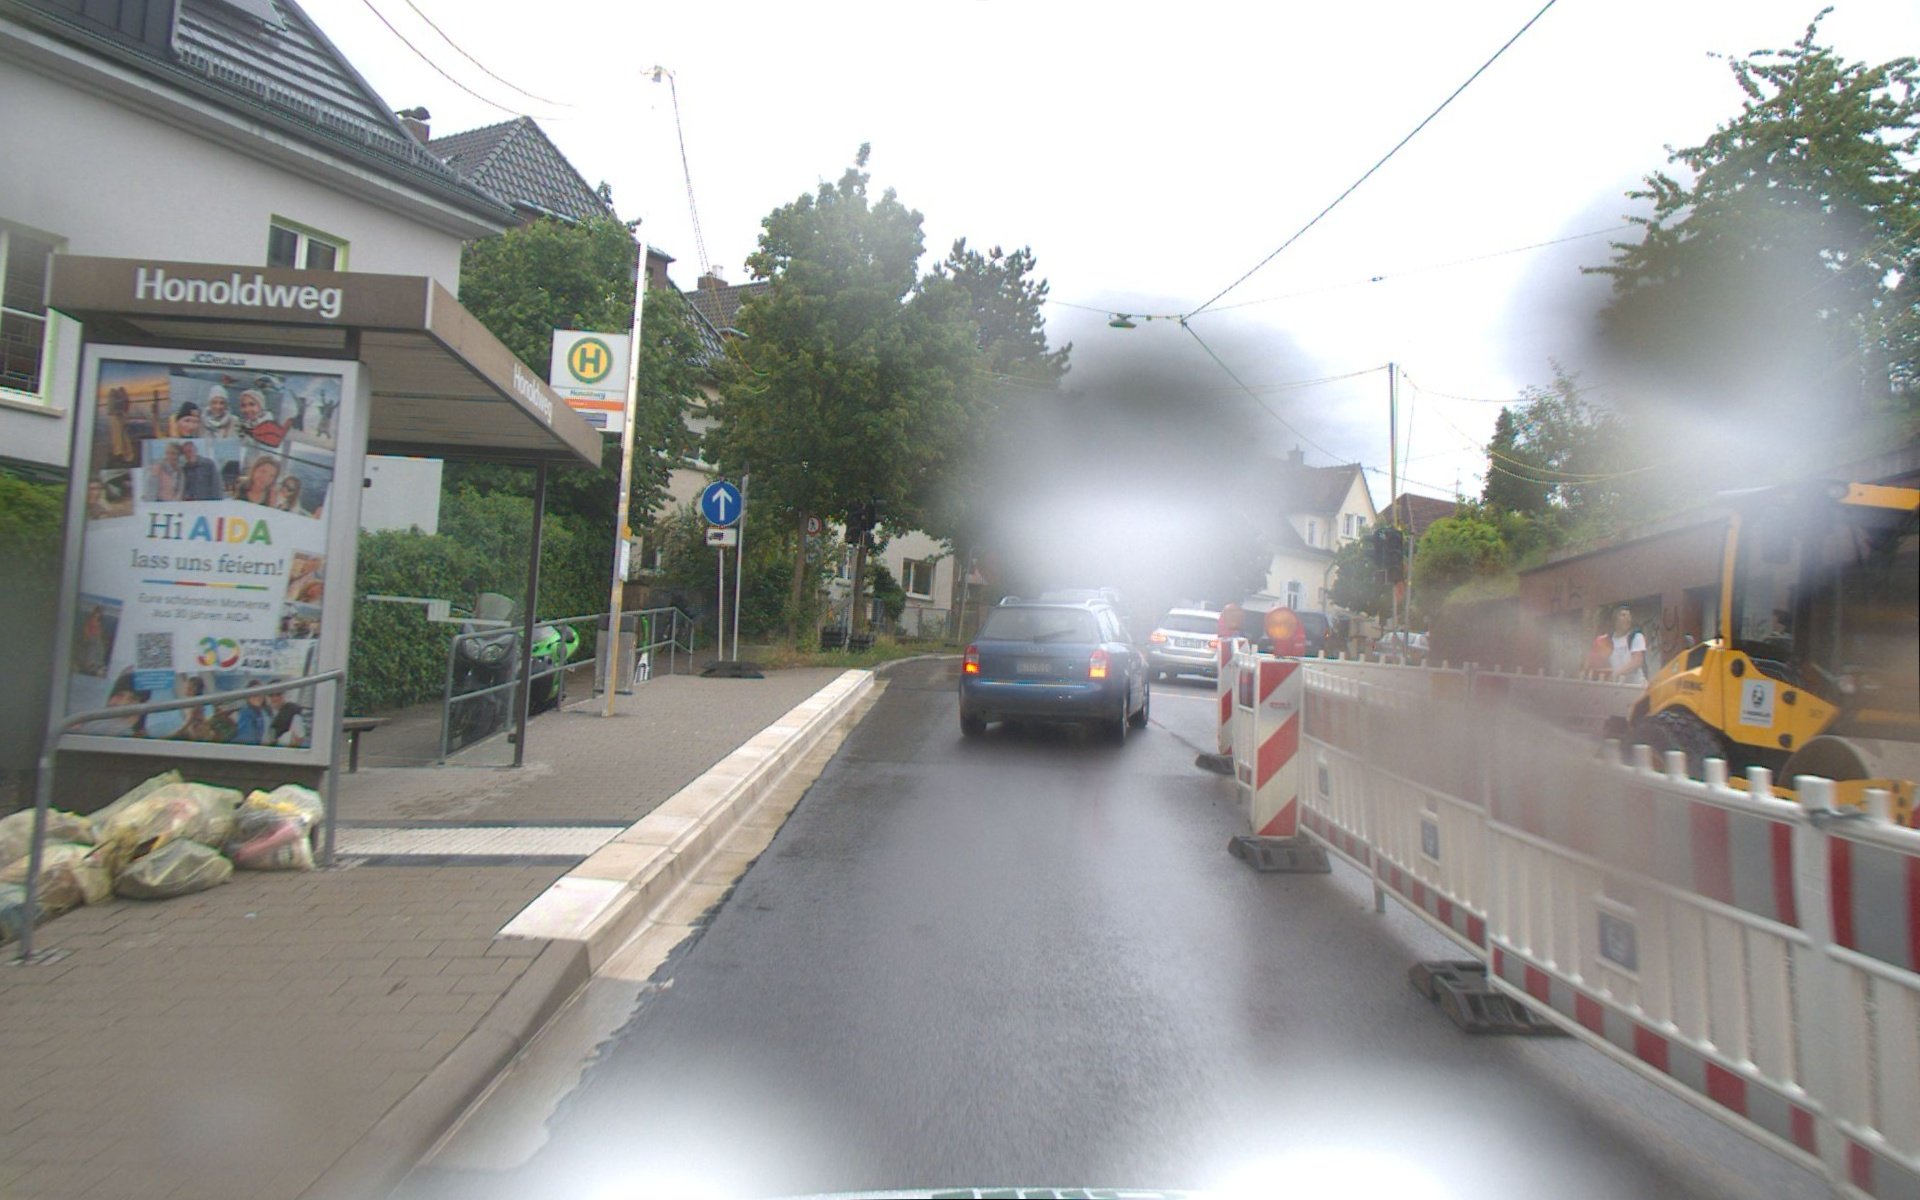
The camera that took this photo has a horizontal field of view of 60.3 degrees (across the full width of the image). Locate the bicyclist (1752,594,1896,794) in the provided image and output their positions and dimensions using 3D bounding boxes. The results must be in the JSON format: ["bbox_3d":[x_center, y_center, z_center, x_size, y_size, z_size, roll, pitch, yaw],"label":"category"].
[{"bbox_3d":[8.156,0.865,15.600,1.055,1.759,0.930,2,-1,34],"label":"bicyclist"}]

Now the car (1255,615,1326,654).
[{"bbox_3d":[13.481,1.433,67.302,1.639,1.492,3.886,1,-1,31],"label":"car"}]

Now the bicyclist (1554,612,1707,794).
[{"bbox_3d":[6.839,1.030,16.914,1.054,1.759,0.931,3,-1,-9],"label":"bicyclist"}]

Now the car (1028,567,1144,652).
[{"bbox_3d":[3.196,0.265,40.895,1.856,1.922,5.156,1,-1,16],"label":"car"}]

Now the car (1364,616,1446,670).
[{"bbox_3d":[16.218,1.562,60.193,1.702,1.799,4.225,3,0,31],"label":"car"}]

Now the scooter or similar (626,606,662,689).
[{"bbox_3d":[-4.299,0.632,22.513,0.317,1.099,1.095,1,0,-3],"label":"scooter or similar"}]

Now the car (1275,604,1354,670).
[{"bbox_3d":[10.798,1.081,50.216,1.698,1.799,4.235,1,1,21],"label":"car"}]

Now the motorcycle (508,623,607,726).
[{"bbox_3d":[-4.167,0.747,17.247,0.653,0.950,2.009,1,1,-4],"label":"motorcycle"}]

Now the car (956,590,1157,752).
[{"bbox_3d":[1.159,0.667,17.951,1.696,1.492,4.004,0,1,10],"label":"car"}]

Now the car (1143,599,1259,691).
[{"bbox_3d":[5.004,0.856,33.898,1.933,1.663,4.239,1,1,14],"label":"car"}]

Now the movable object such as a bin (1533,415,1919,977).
[{"bbox_3d":[5.957,0.497,11.197,2.044,2.887,5.676,3,1,0],"label":"movable object such as a bin"}]

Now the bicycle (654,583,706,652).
[{"bbox_3d":[-5.602,0.330,33.225,0.480,1.293,2.274,4,1,2],"label":"bicycle"}]

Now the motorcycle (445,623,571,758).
[{"bbox_3d":[-4.007,0.771,14.814,0.653,1.054,2.151,1,1,-4],"label":"motorcycle"}]
